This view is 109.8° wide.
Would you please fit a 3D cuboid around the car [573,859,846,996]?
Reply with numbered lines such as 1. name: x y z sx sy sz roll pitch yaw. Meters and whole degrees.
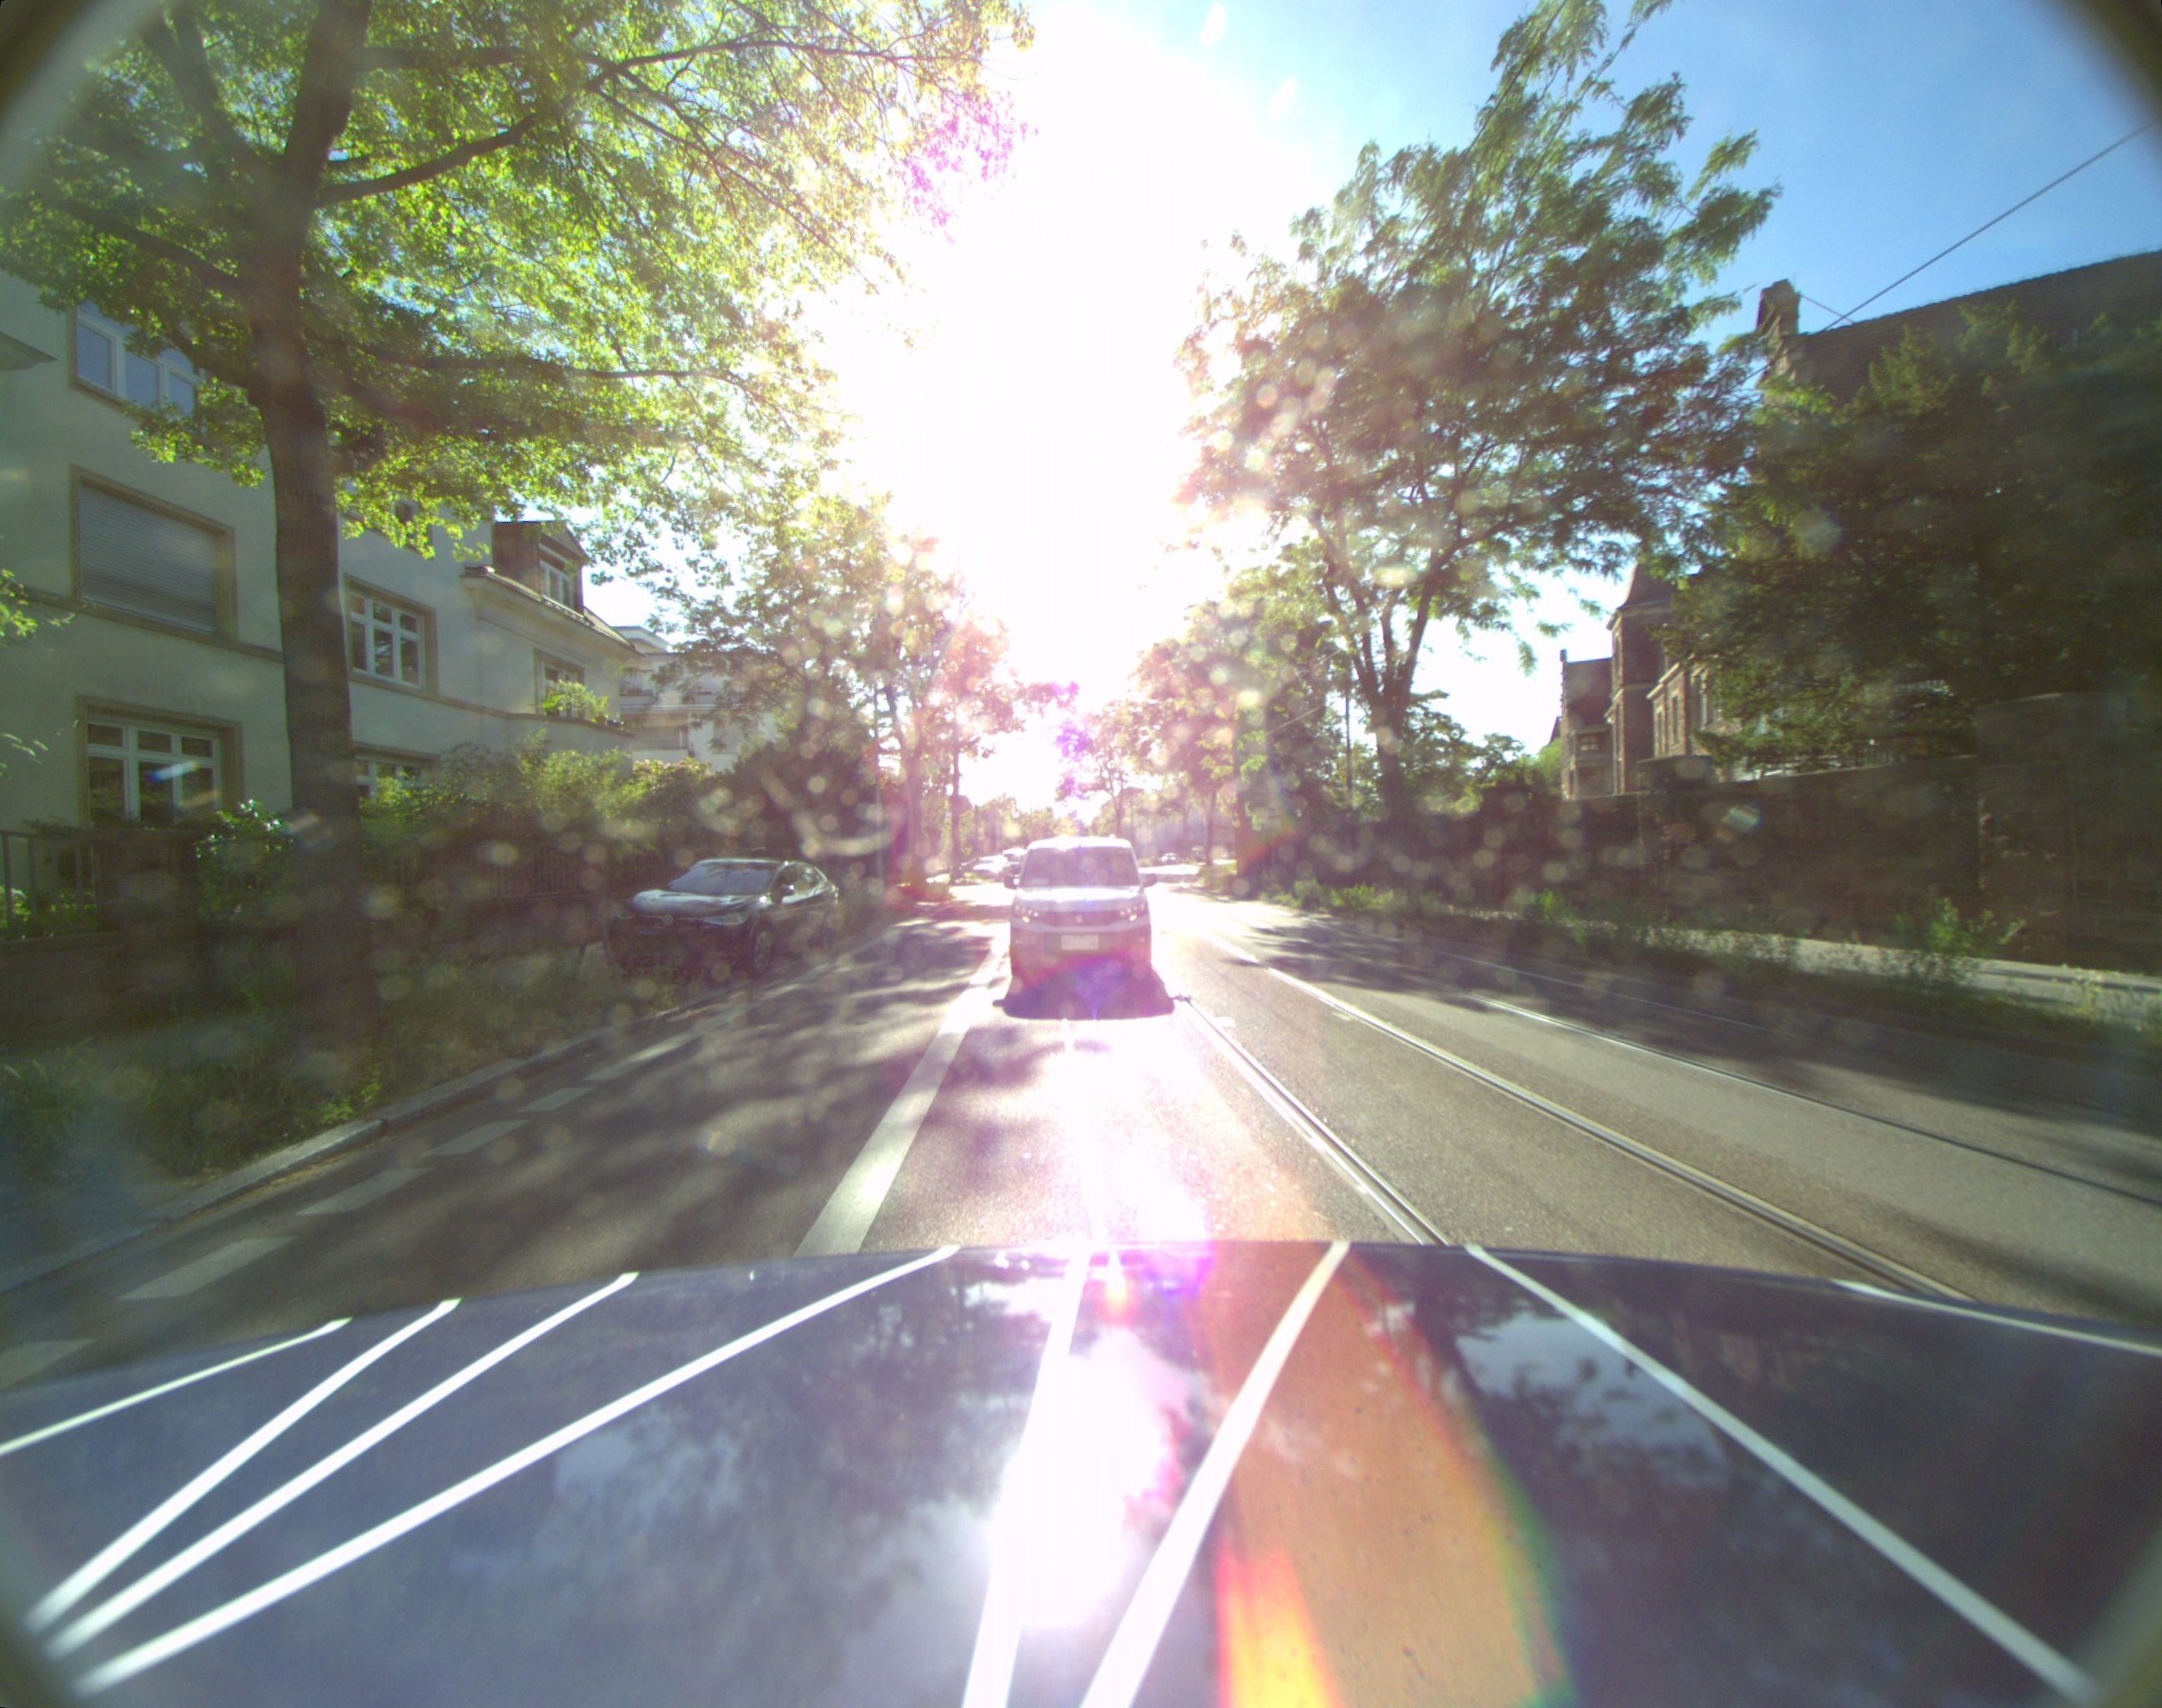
1. car: -5.251 0.933 11.549 1.999 1.665 4.380 1 -1 0

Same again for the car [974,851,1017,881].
1. car: -5.042 0.660 45.222 1.823 1.630 4.001 -2 0 4

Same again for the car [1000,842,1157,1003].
1. car: -0.036 0.770 10.651 1.768 1.812 3.999 -1 0 0

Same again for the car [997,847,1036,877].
1. car: -4.357 0.503 51.783 2.129 1.884 4.746 -2 0 1
